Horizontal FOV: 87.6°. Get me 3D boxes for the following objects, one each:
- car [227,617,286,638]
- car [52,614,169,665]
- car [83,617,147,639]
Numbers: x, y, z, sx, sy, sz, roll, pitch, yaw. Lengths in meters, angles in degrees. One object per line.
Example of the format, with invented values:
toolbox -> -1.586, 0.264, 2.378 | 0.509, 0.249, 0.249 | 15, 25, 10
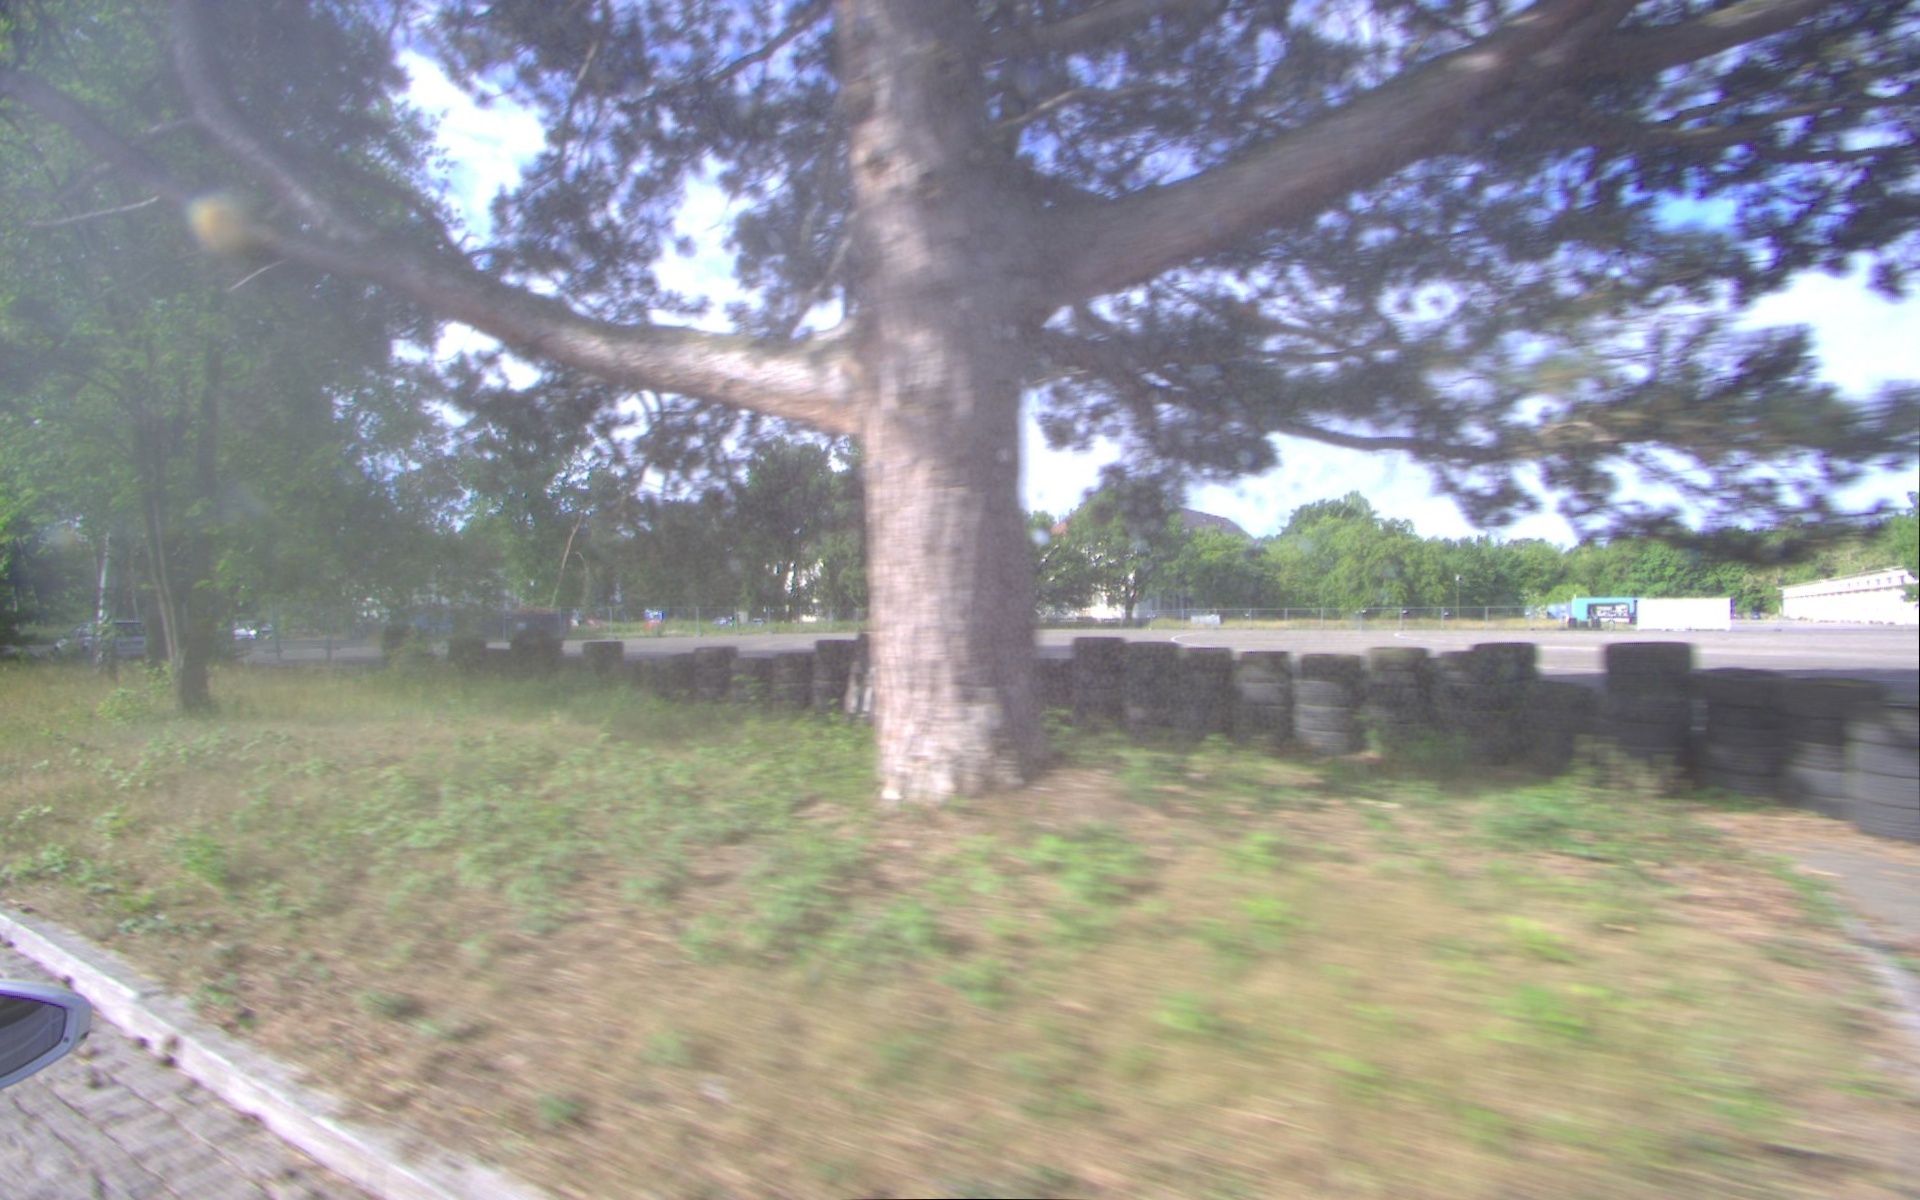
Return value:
car -> -47.884, 1.865, 68.107 | 4.269, 1.329, 1.728 | -1, 0, 32
car -> -26.794, 1.213, 31.569 | 3.942, 1.487, 1.664 | -1, 0, 31
car -> -51.587, 1.698, 61.102 | 4.269, 1.329, 1.728 | -1, 0, 32
